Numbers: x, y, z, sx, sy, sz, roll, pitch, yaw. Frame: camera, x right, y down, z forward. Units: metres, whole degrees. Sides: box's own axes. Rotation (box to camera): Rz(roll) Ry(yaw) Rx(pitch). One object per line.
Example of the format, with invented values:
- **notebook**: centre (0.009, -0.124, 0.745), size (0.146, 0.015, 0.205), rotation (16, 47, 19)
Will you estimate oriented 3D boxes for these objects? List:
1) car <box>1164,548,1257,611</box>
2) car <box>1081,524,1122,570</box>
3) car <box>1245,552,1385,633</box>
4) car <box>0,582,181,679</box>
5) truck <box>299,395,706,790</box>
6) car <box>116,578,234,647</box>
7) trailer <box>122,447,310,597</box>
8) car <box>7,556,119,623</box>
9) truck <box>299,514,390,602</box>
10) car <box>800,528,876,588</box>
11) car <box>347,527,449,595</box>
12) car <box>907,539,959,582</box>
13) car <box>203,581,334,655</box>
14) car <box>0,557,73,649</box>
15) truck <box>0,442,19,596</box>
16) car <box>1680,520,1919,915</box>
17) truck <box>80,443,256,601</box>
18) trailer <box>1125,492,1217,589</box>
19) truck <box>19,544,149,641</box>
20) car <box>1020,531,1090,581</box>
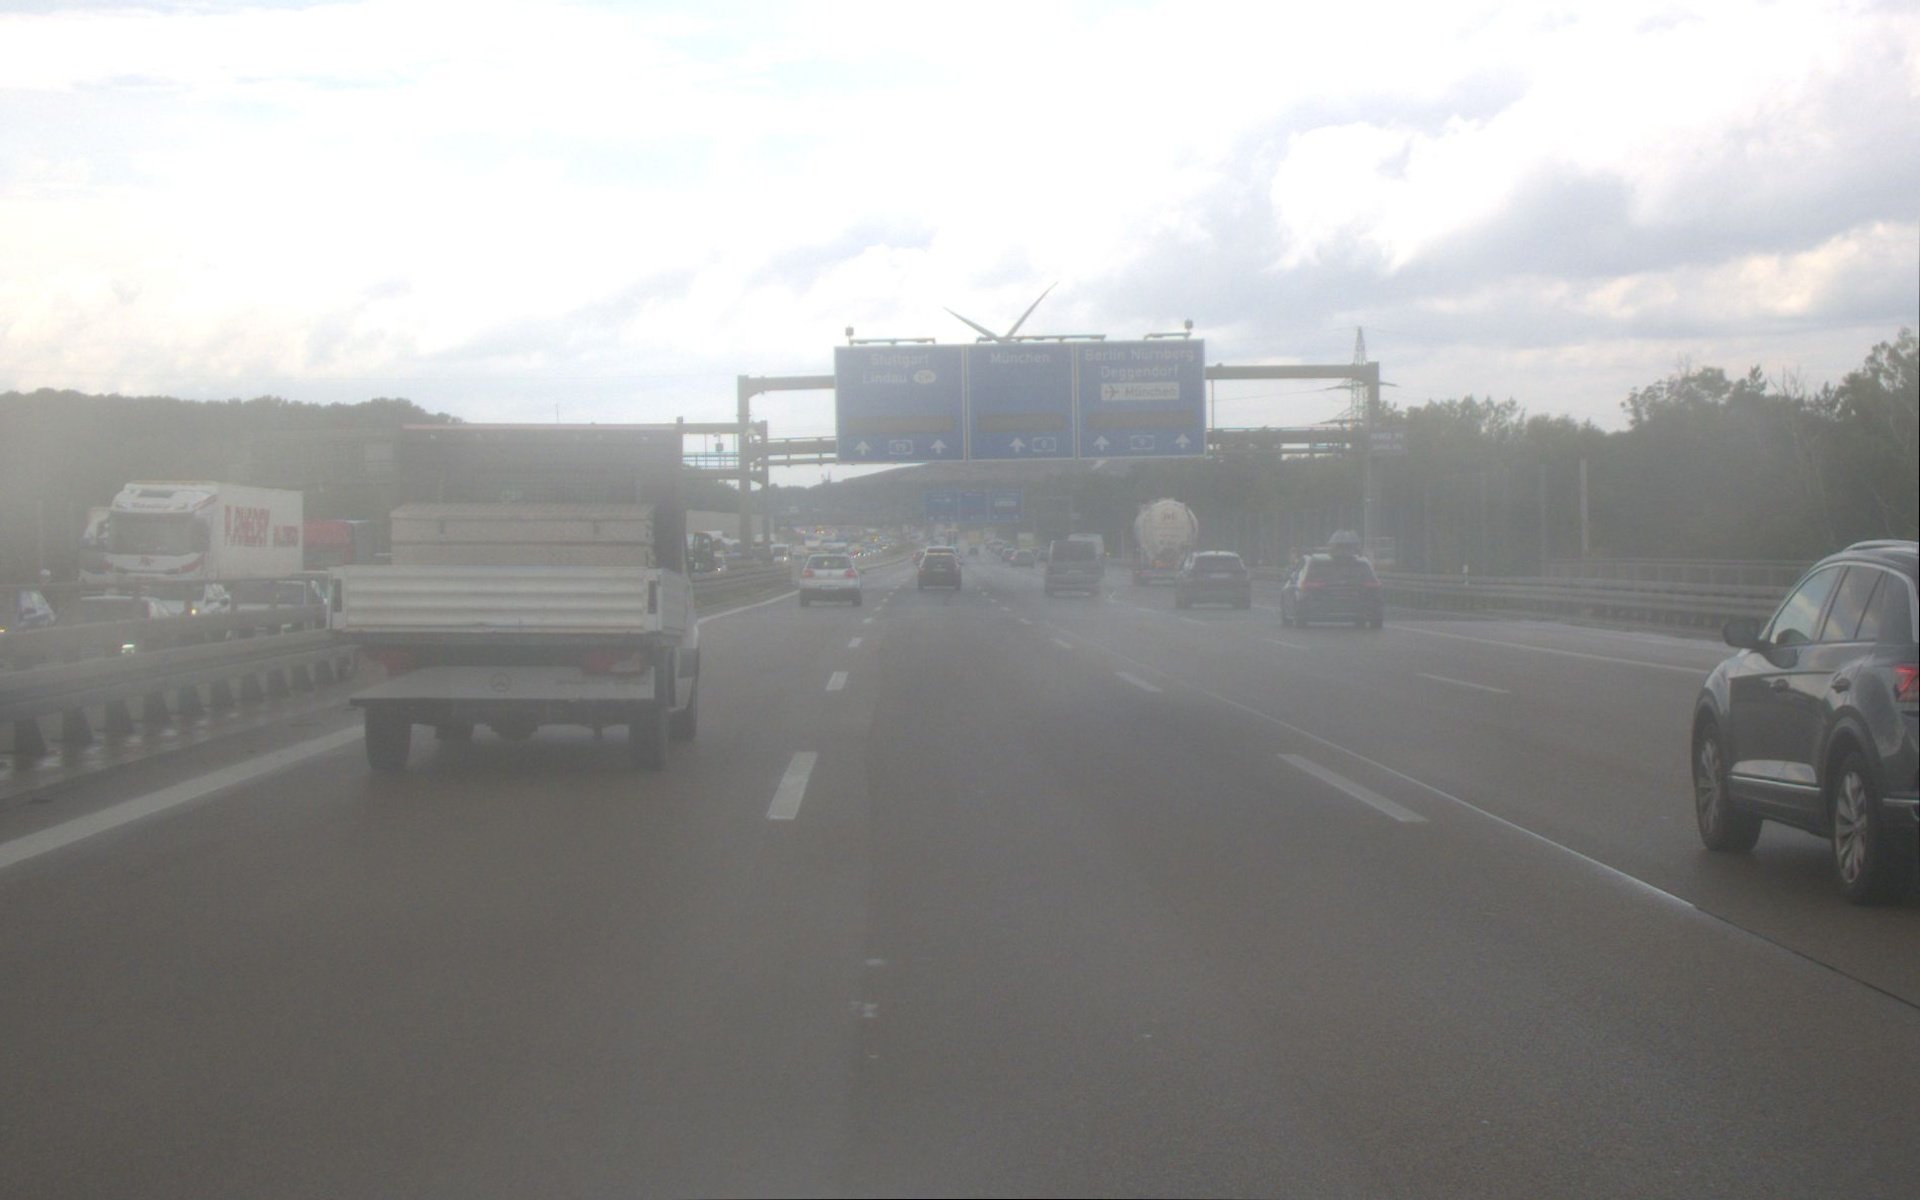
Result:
- **car**: centre (7.003, -0.599, 96.417), size (2.045, 1.693, 5.007), rotation (0, 1, -2)
- **car**: centre (7.768, -2.944, 189.518), size (2.045, 2.489, 4.000), rotation (0, 1, 0)
- **car**: centre (7.382, -0.185, 71.906), size (2.104, 1.600, 5.066), rotation (0, 1, -3)
- **car**: centre (-13.246, 0.432, 52.464), size (1.719, 1.349, 4.535), rotation (-1, 1, -1)
- **truck**: centre (-3.089, -0.114, 24.858), size (2.352, 2.400, 7.359), rotation (1, 1, -3)
- **car**: centre (-18.254, 0.311, 80.121), size (1.645, 1.505, 4.859), rotation (0, -1, 0)
- **trailer**: centre (-21.951, -2.312, 102.197), size (3.186, 4.179, 11.958), rotation (0, 1, -1)
- **car**: centre (-21.563, -0.267, 82.747), size (1.645, 1.540, 4.000), rotation (0, 1, 0)
- **truck**: centre (-25.392, -1.790, 142.123), size (2.463, 3.524, 7.808), rotation (0, 1, -1)
- **car**: centre (-3.475, -1.217, 98.574), size (2.045, 1.693, 4.000), rotation (0, 1, 0)
- **car**: centre (-13.797, -0.983, 84.604), size (1.792, 1.613, 4.284), rotation (-1, 1, 0)
- **car**: centre (-1.102, -1.608, 138.022), size (2.045, 1.693, 4.000), rotation (0, 1, -1)
- **car**: centre (-13.782, 0.331, 68.717), size (1.719, 1.349, 4.626), rotation (-1, 1, -1)
- **car**: centre (-17.908, 0.029, 63.603), size (1.821, 1.618, 4.698), rotation (-1, 1, -1)
- **truck**: centre (-26.043, -1.940, 82.183), size (2.648, 4.007, 17.749), rotation (0, 1, -1)
- **car**: centre (4.566, 0.454, 15.431), size (1.792, 1.557, 3.722), rotation (1, 1, -1)
- **truck**: centre (-21.813, -2.149, 95.111), size (3.177, 4.180, 7.738), rotation (0, 1, -1)
- **trailer**: centre (9.433, -2.653, 154.936), size (3.333, 4.161, 11.838), rotation (1, 1, 0)
- **truck**: centre (-27.873, -0.298, 109.640), size (2.517, 2.976, 7.022), rotation (-1, 1, -2)
- **car**: centre (3.305, -1.554, 120.405), size (2.097, 1.693, 4.001), rotation (0, 1, -3)
